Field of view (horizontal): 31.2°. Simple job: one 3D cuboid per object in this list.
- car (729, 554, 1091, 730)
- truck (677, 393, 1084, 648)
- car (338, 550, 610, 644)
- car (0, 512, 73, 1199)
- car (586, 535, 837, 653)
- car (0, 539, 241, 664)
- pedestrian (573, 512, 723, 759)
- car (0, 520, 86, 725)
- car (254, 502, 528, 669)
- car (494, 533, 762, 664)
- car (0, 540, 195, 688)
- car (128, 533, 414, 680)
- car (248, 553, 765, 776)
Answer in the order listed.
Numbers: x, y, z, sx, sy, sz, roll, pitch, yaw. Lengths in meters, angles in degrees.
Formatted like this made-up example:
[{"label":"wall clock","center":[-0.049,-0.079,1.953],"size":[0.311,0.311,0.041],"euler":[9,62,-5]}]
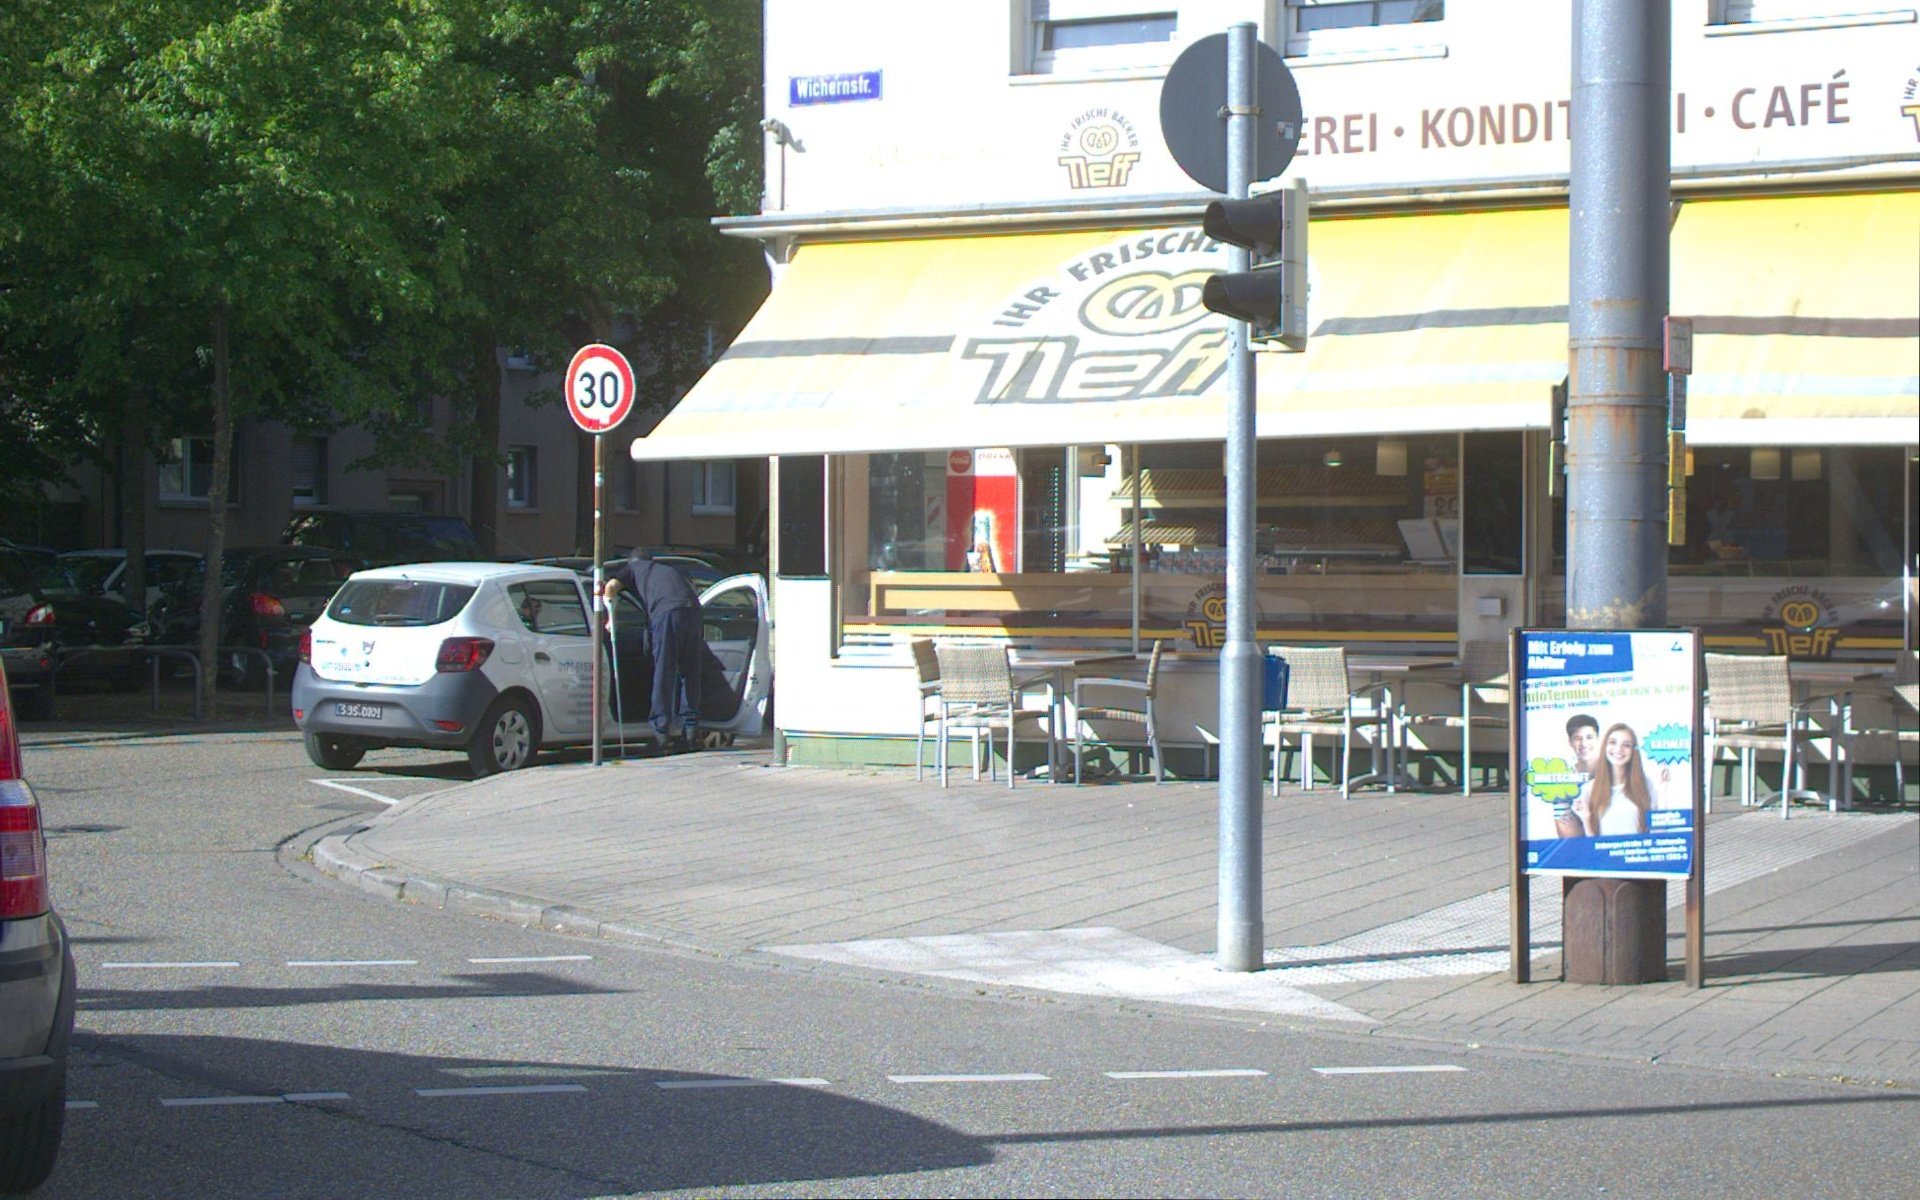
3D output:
[{"label":"car","center":[-0.390,0.326,30.889],"size":[1.599,1.458,3.666],"euler":[1,1,30]},{"label":"truck","center":[-1.259,-1.084,48.044],"size":[2.538,3.282,7.326],"euler":[0,1,-29]},{"label":"car","center":[-7.039,-0.052,50.281],"size":[1.766,1.290,4.407],"euler":[-1,0,26]},{"label":"car","center":[-3.346,0.567,8.433],"size":[1.616,1.556,3.258],"euler":[0,1,-27]},{"label":"car","center":[-3.403,-0.114,46.289],"size":[1.807,1.502,4.344],"euler":[0,1,-27]},{"label":"car","center":[-10.947,-0.018,43.392],"size":[1.756,1.481,3.945],"euler":[1,1,22]},{"label":"pedestrian","center":[-2.216,0.237,24.459],"size":[0.760,1.716,0.744],"euler":[1,1,35]},{"label":"car","center":[-9.450,0.121,31.049],"size":[1.831,1.665,4.337],"euler":[0,3,-31]},{"label":"car","center":[-6.811,-0.207,40.756],"size":[1.929,1.867,4.504],"euler":[0,1,-27]},{"label":"car","center":[-4.138,-0.051,42.204],"size":[1.807,1.502,4.344],"euler":[0,1,-27]},{"label":"car","center":[-9.574,0.101,35.507],"size":[1.816,1.417,3.948],"euler":[0,1,-37]},{"label":"car","center":[-7.427,0.031,36.809],"size":[1.756,1.476,3.824],"euler":[0,1,-32]},{"label":"car","center":[-3.276,0.410,25.561],"size":[1.722,1.492,4.016],"euler":[1,1,30]}]
